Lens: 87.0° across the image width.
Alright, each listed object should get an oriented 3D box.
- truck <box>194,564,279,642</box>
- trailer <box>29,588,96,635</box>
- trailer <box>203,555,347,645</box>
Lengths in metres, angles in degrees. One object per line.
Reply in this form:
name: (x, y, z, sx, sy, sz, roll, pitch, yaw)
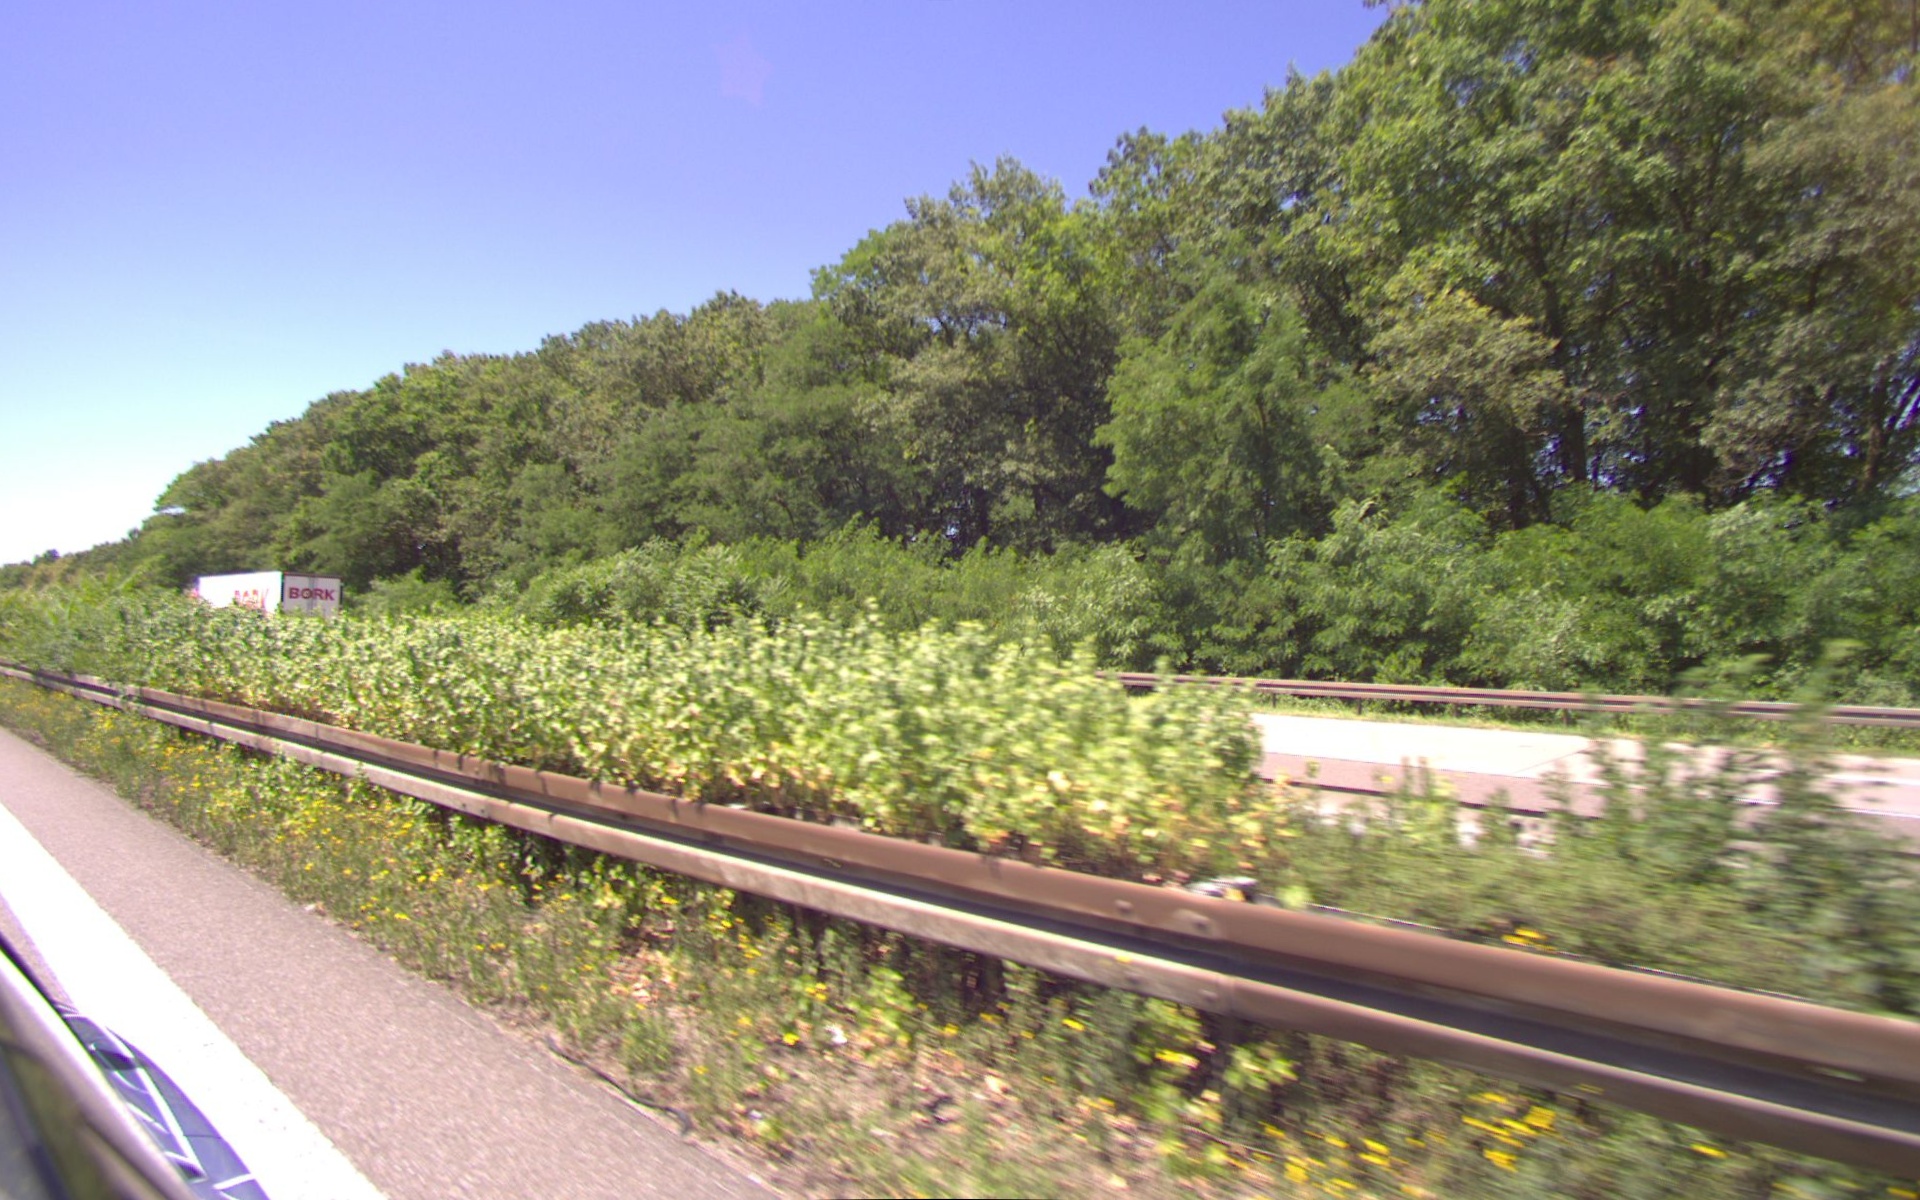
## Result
truck: (-39.604, 0.205, 55.389, 4.293, 4.081, 2.890, -1, -1, 42)
trailer: (-83.252, 1.155, 93.763, 12.906, 4.065, 2.805, -1, -3, 41)
trailer: (-34.962, 0.096, 51.339, 12.909, 4.081, 2.890, -1, -1, 41)
